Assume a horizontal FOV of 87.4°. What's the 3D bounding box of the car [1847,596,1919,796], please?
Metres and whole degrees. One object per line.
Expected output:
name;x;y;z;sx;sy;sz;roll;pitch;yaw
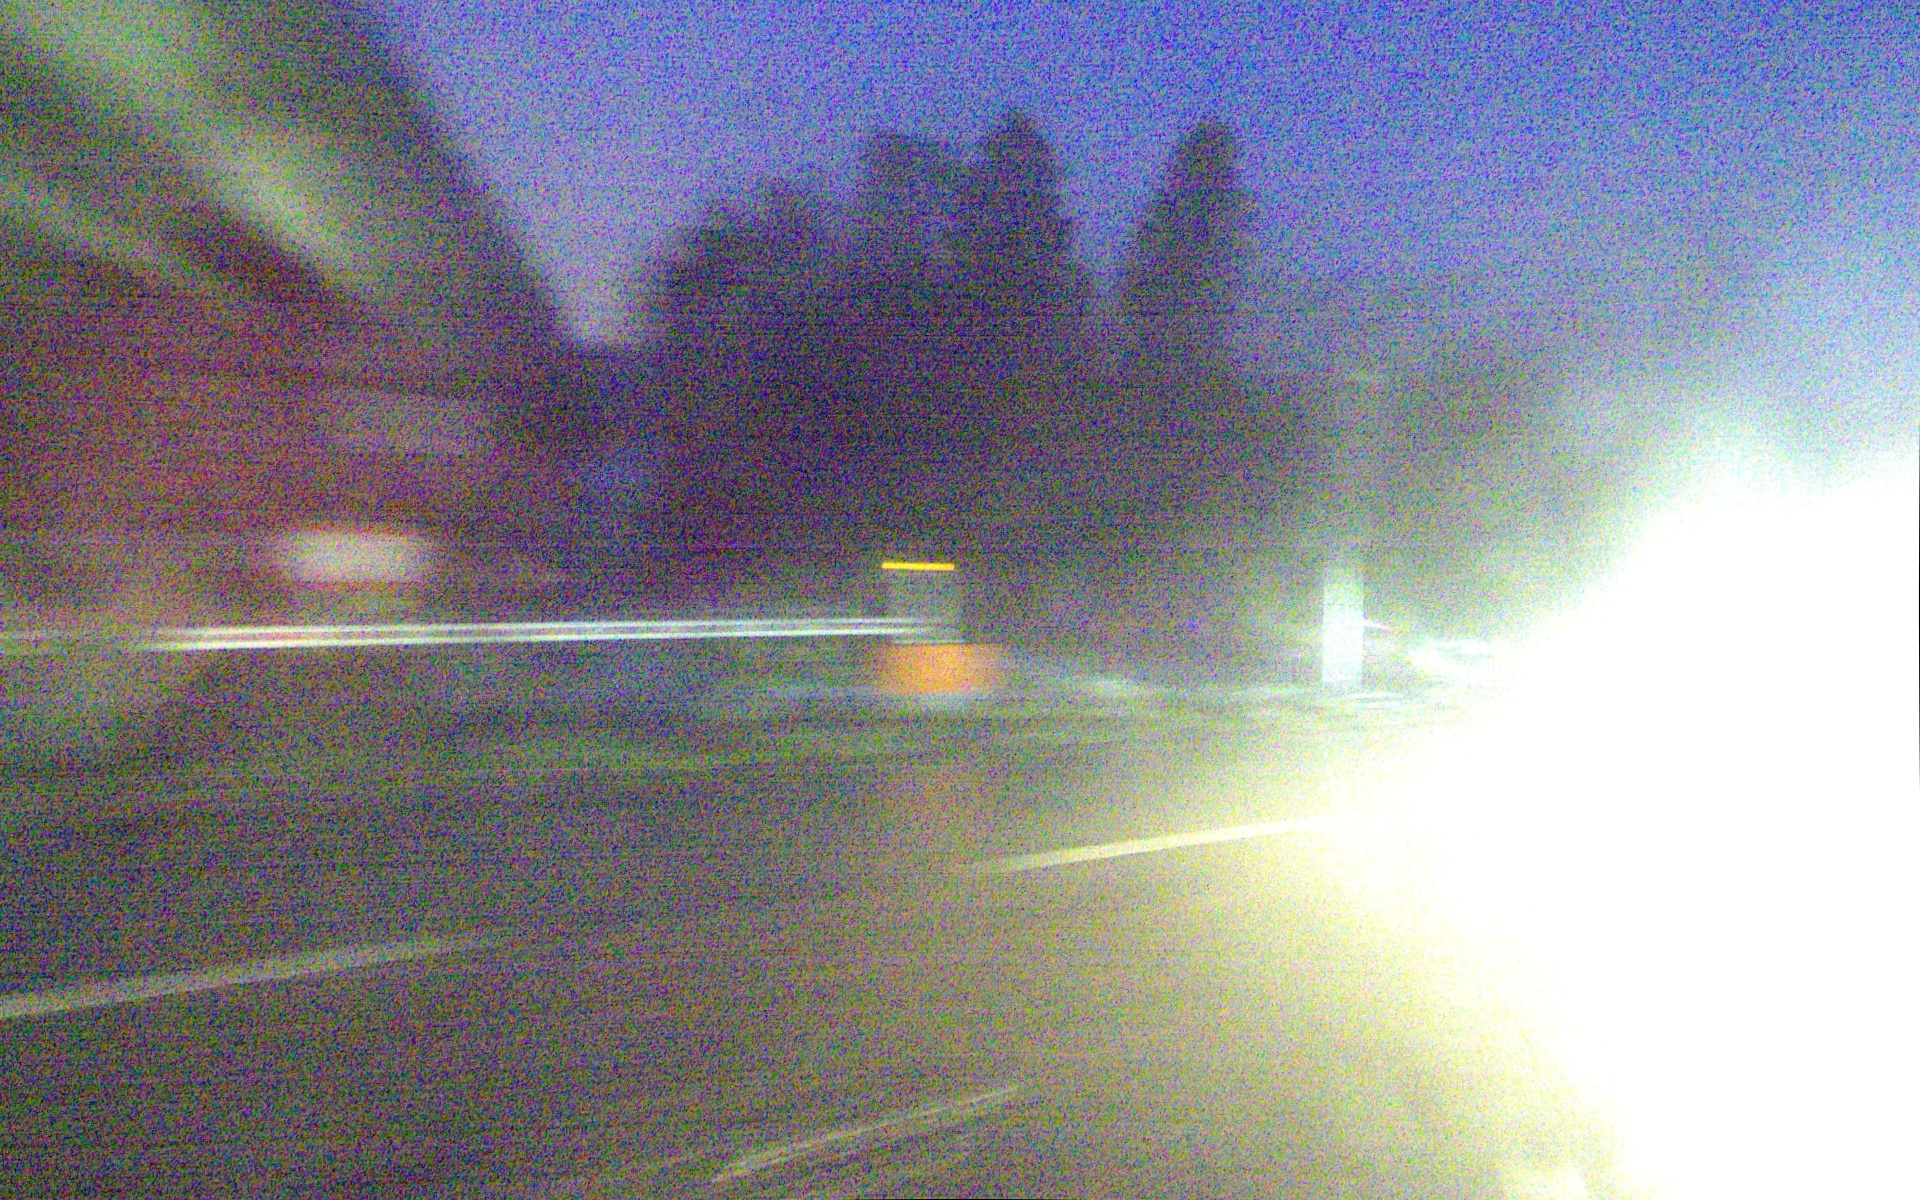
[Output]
car;10.120;0.889;9.500;3.962;1.714;1.778;2;1;-36
